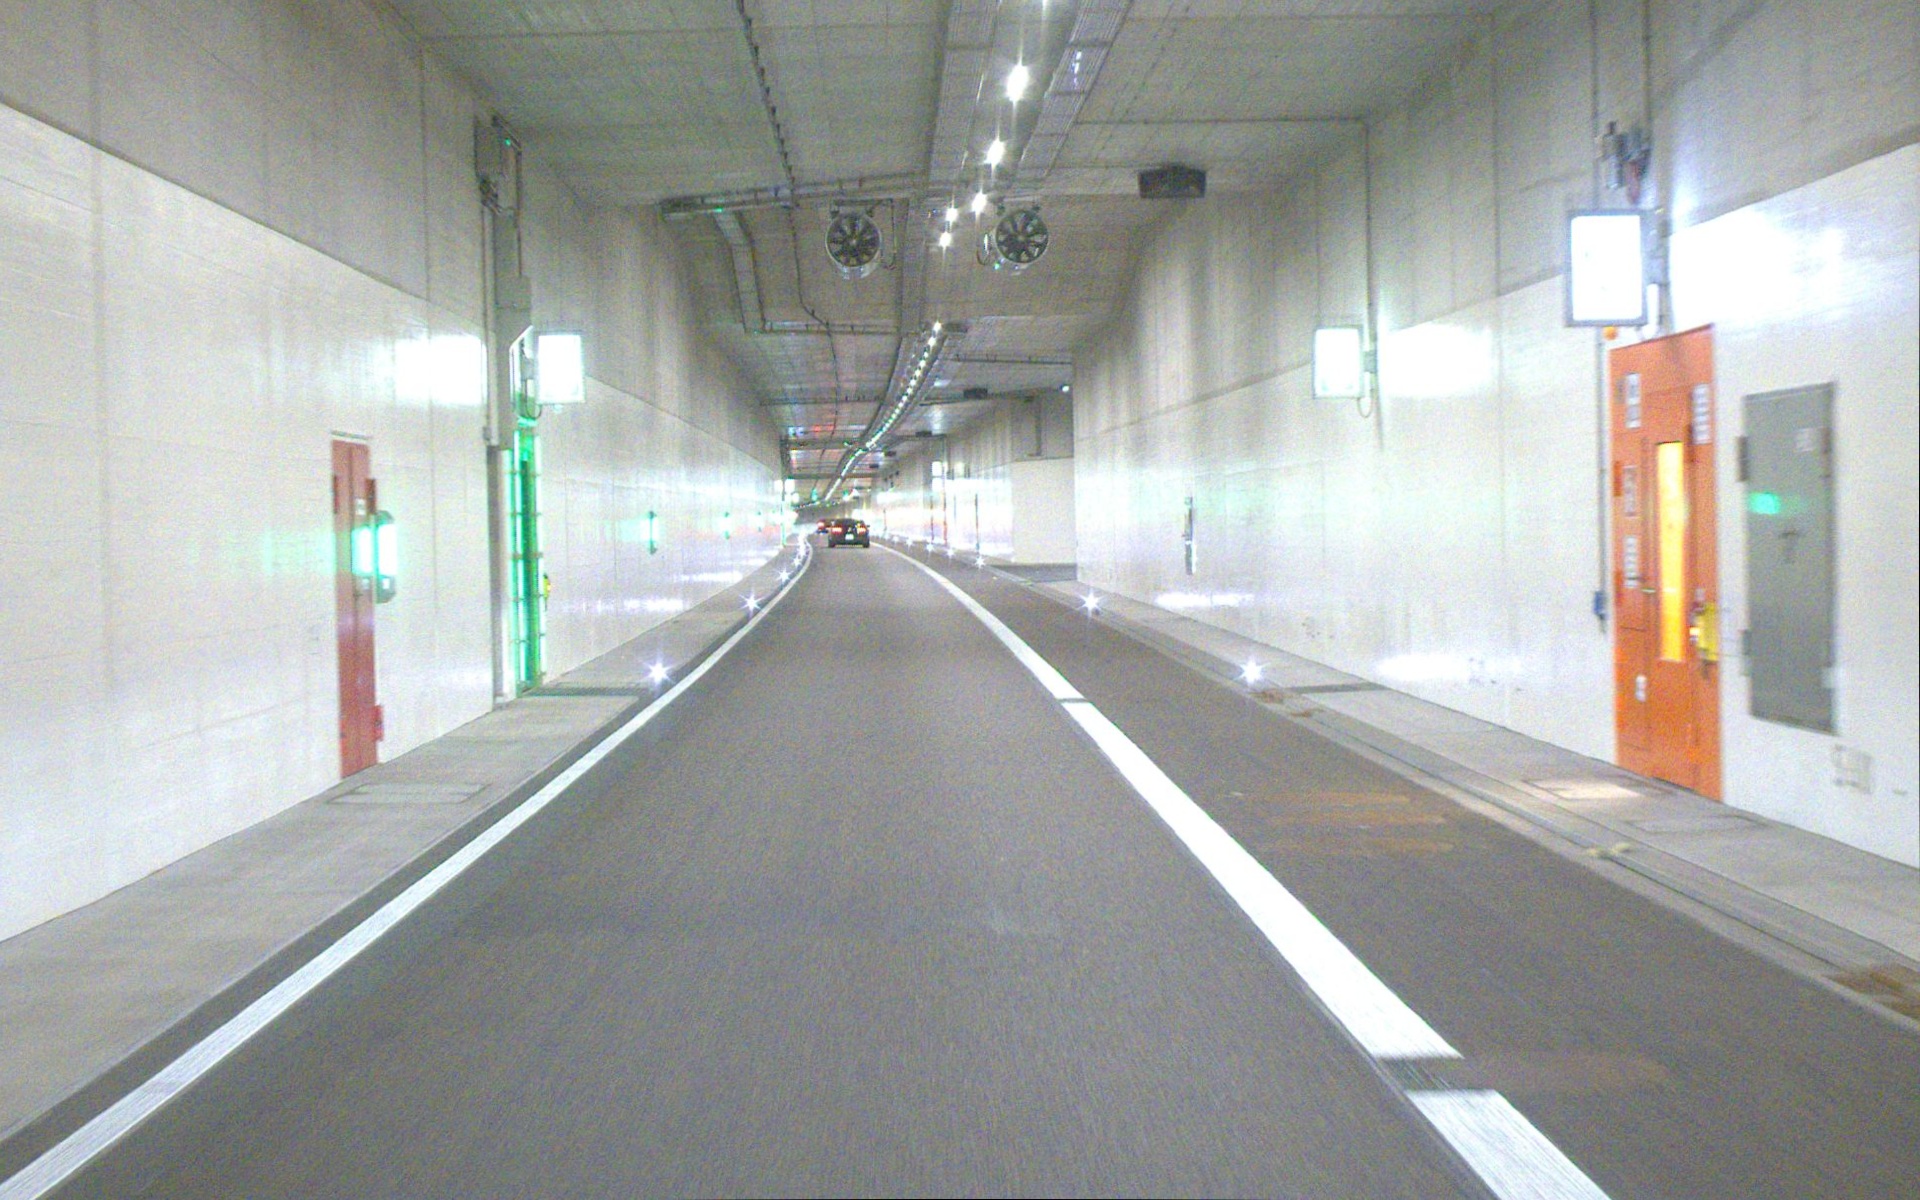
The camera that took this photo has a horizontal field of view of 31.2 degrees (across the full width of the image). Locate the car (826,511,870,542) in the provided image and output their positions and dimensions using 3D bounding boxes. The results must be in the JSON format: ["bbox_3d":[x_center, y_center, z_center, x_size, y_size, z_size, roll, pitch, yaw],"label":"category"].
[{"bbox_3d":[-5.186,-3.407,158.938,1.993,1.415,4.001,0,1,-3],"label":"car"}]
